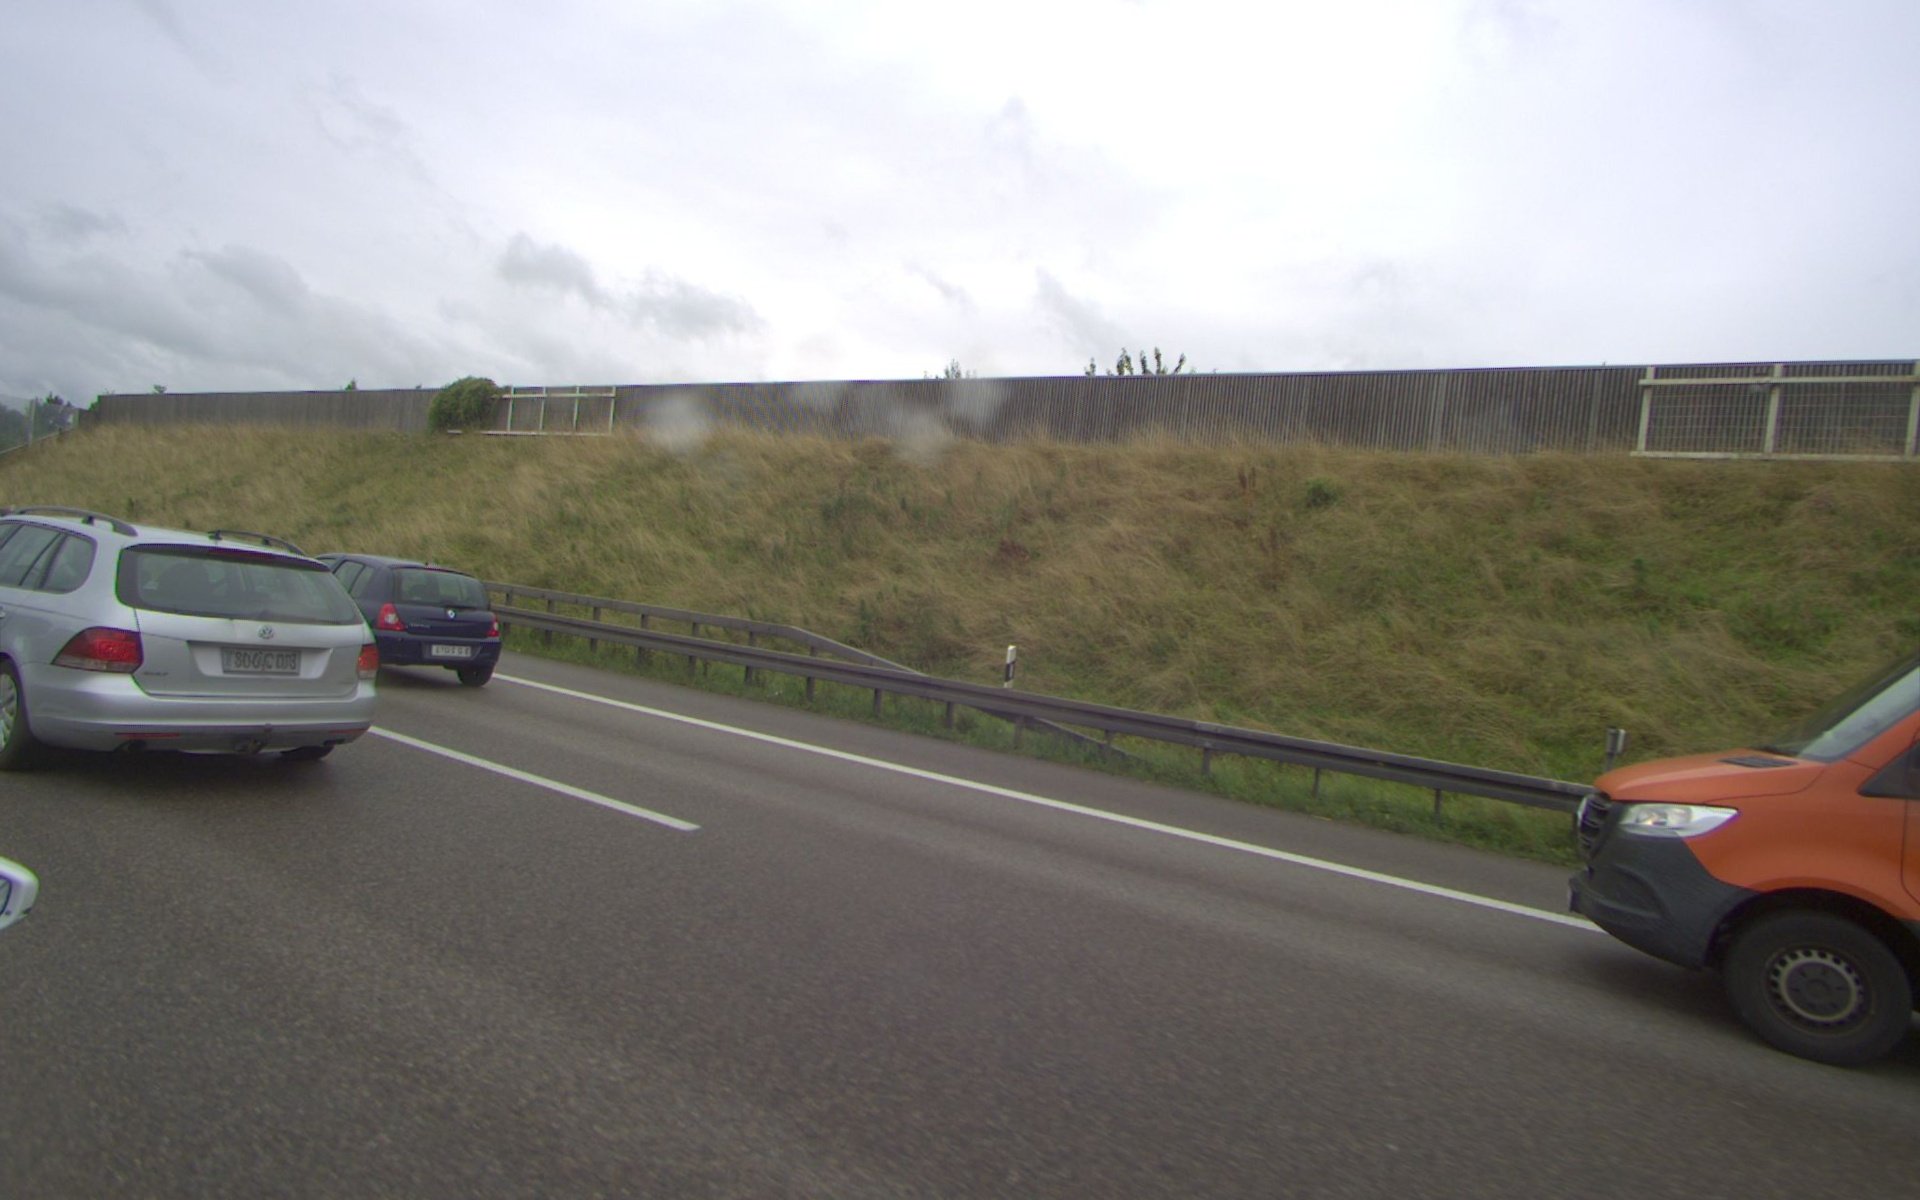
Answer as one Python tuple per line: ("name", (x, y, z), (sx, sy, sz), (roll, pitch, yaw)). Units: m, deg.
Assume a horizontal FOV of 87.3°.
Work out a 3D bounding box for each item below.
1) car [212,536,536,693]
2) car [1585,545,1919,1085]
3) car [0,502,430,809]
("car", (-7.233, 0.158, 12.355), (3.810, 1.417, 1.706), (6, -2, 31))
("car", (6.507, 1.276, 4.451), (6.078, 2.343, 2.089), (7, 0, 31))
("car", (-5.783, 0.156, 6.824), (4.441, 1.442, 1.744), (7, 0, 31))
